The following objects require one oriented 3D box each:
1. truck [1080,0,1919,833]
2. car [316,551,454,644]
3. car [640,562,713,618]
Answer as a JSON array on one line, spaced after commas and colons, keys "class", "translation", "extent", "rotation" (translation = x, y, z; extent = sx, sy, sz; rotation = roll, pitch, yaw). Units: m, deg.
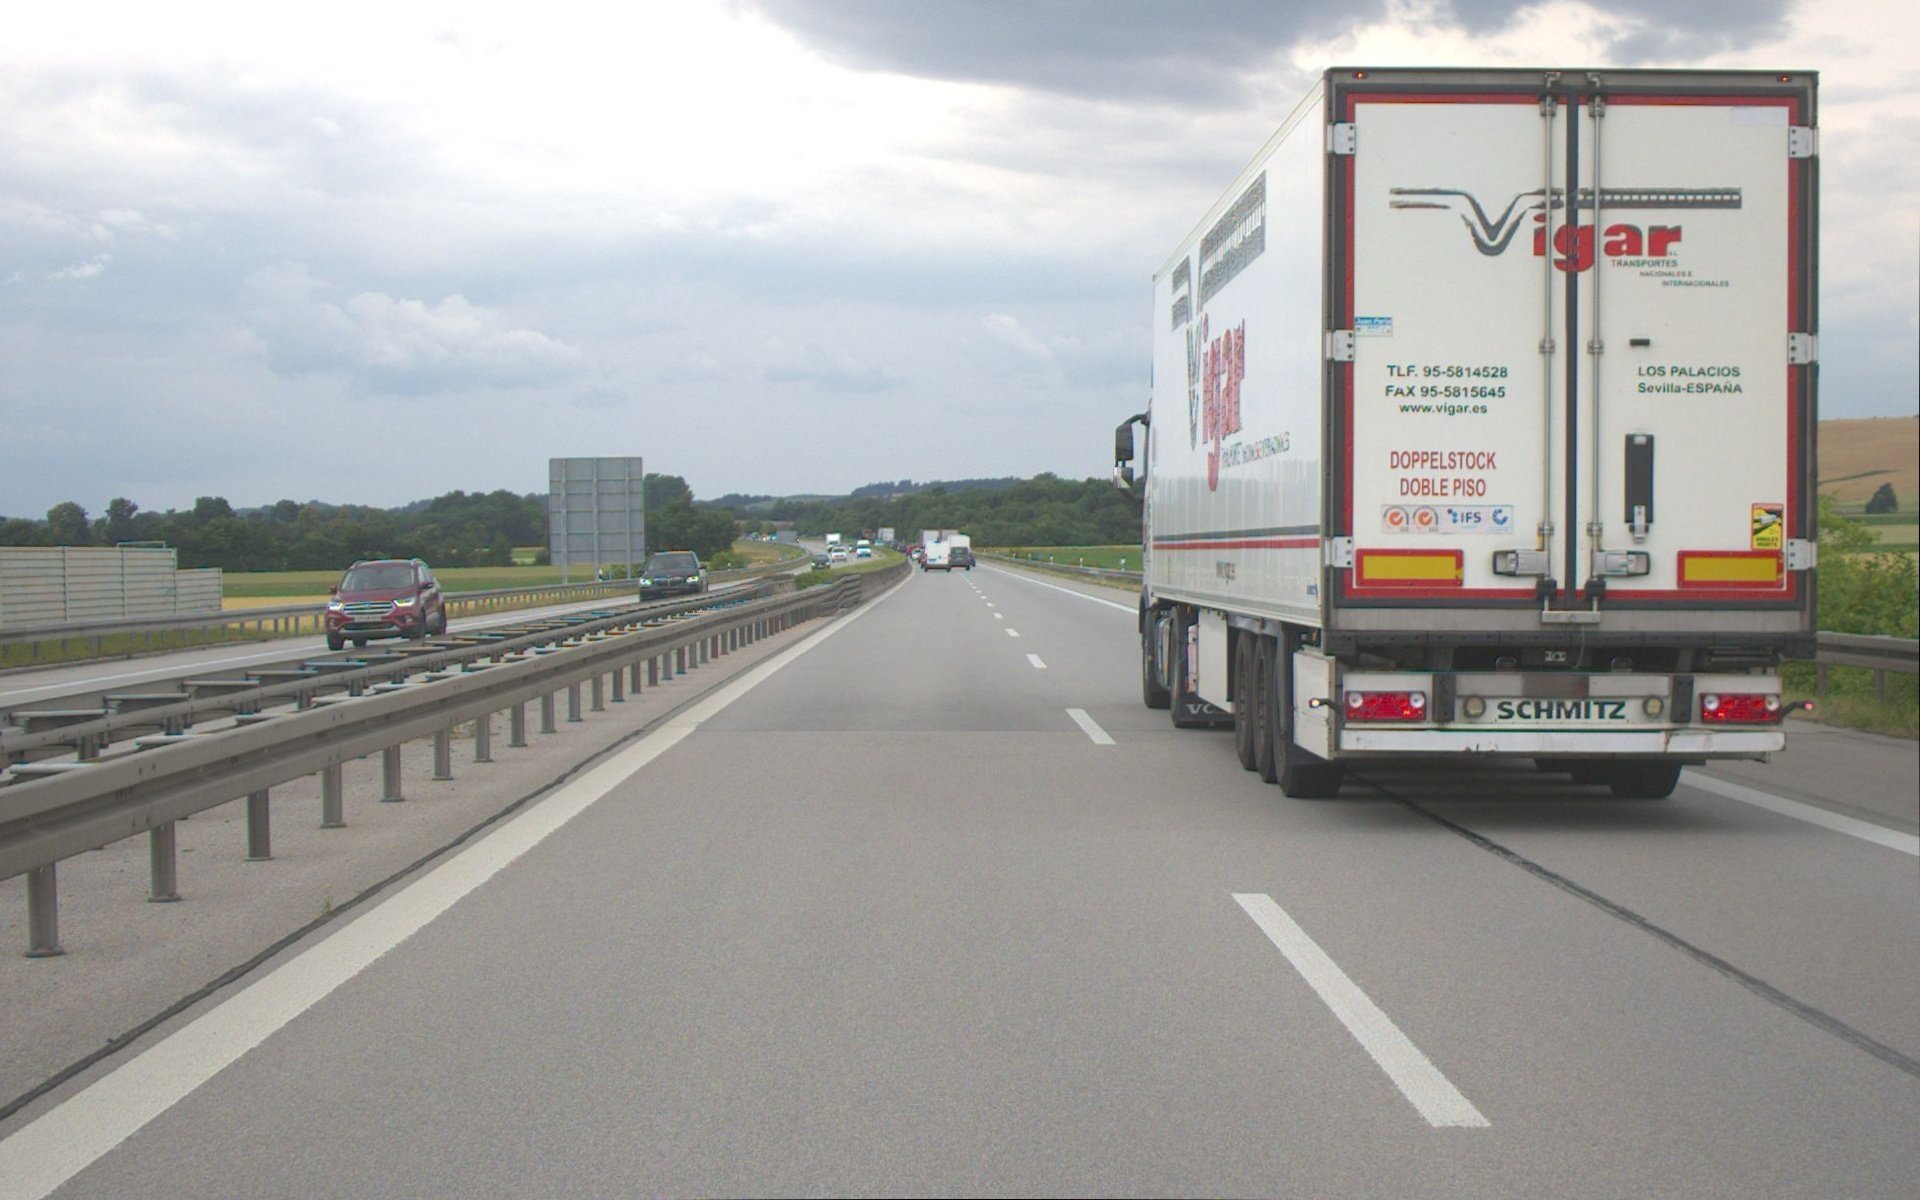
[{"class": "truck", "translation": [3.226, -1.204, 25.935], "extent": [3.672, 4.397, 16.343], "rotation": [-1, 1, -1]}, {"class": "car", "translation": [-11.148, -0.072, 66.893], "extent": [1.895, 1.626, 4.174], "rotation": [-4, 1, 0]}, {"class": "car", "translation": [-8.984, -0.329, 109.114], "extent": [1.895, 1.626, 4.174], "rotation": [-4, 1, 0]}]
